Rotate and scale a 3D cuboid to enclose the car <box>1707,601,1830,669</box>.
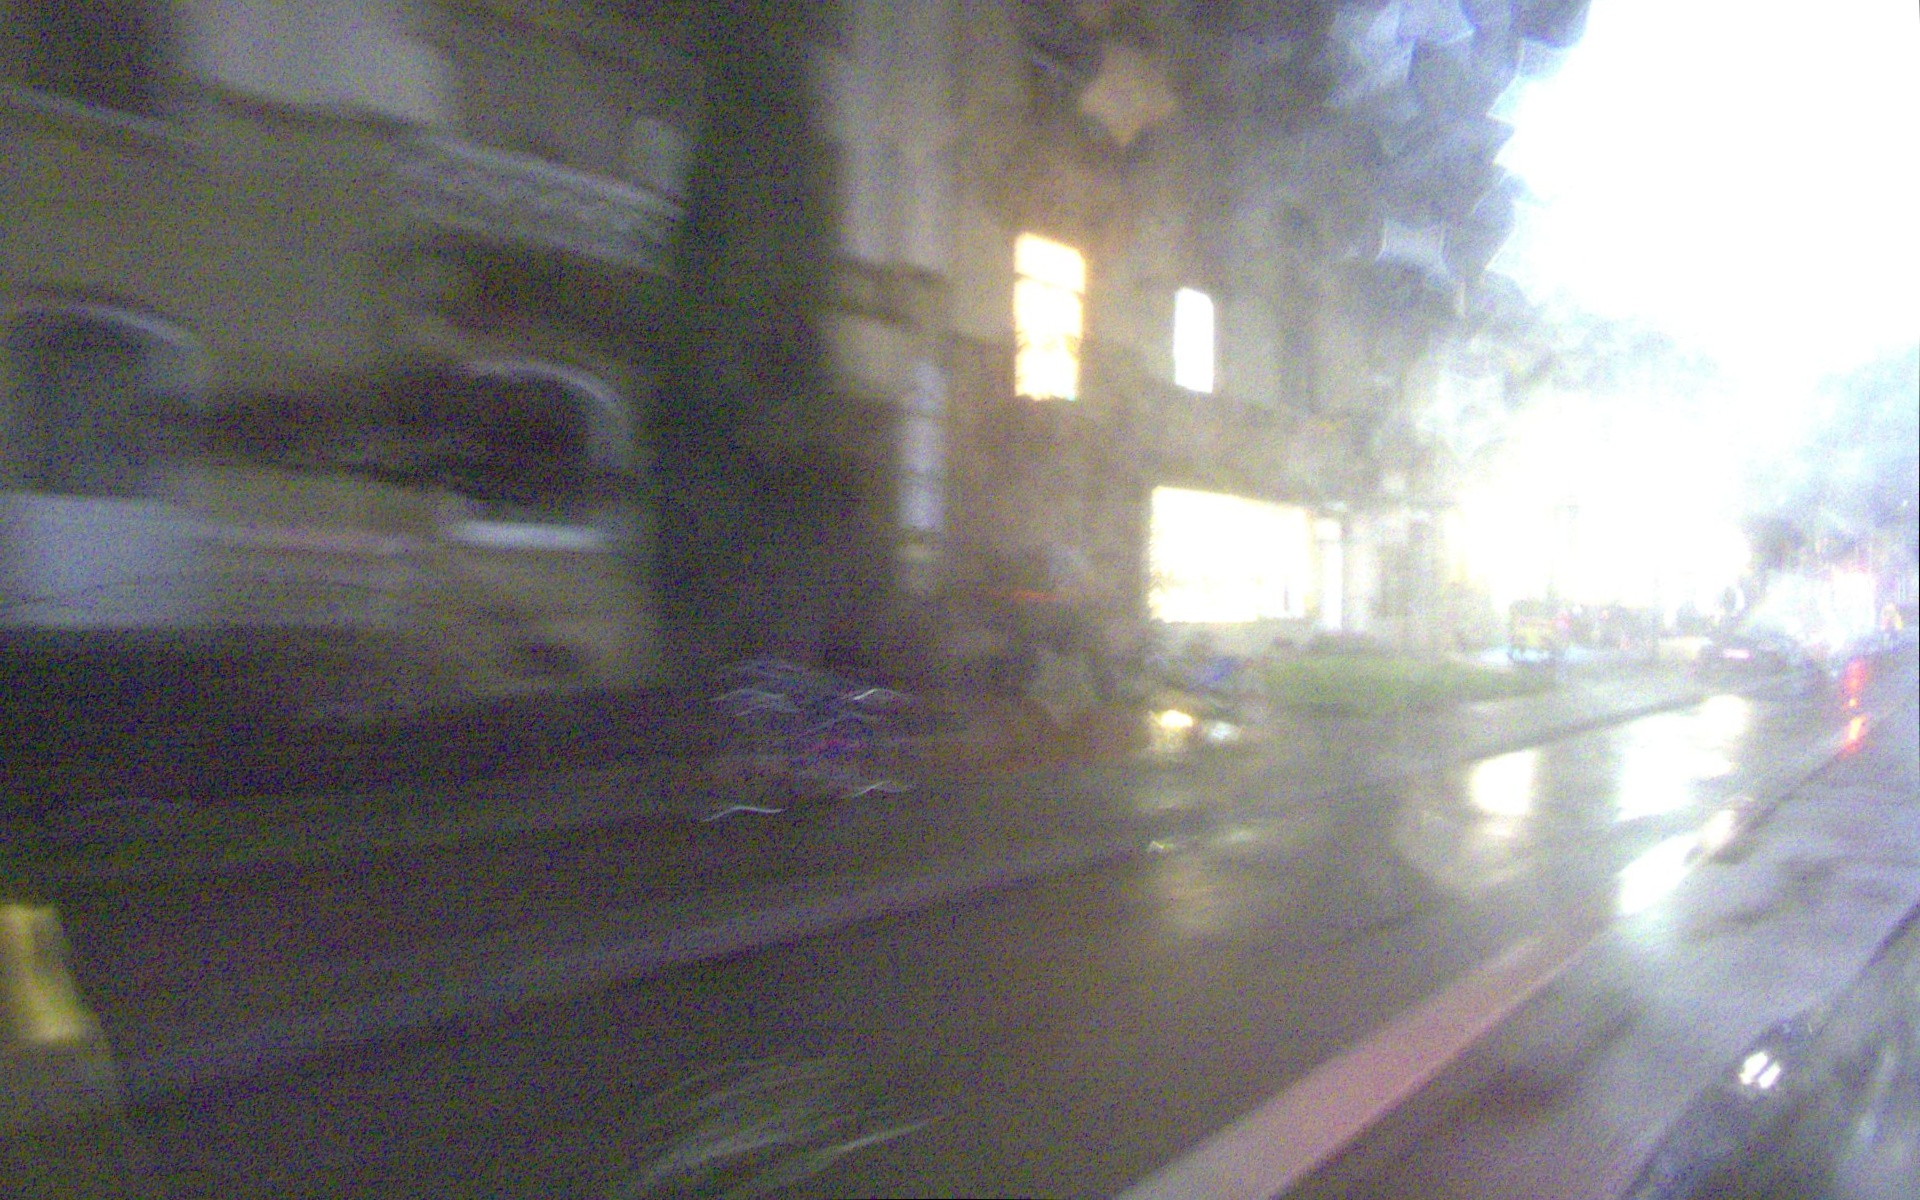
[{"bbox_3d":[20.382,0.814,25.469,3.984,1.459,1.649,0,4,-41],"label":"car"}]

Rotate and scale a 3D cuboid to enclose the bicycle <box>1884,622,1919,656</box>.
[{"bbox_3d":[29.330,1.200,31.412,0.567,0.981,1.761,-2,-1,31],"label":"bicycle"}]

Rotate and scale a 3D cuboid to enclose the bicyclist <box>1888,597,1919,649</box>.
[{"bbox_3d":[29.323,0.713,31.418,0.567,1.567,0.807,-2,-1,31],"label":"bicyclist"}]

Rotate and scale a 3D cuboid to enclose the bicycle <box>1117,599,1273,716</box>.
[{"bbox_3d":[2.742,0.630,11.979,0.484,1.178,1.817,-1,4,-41],"label":"bicycle"}]

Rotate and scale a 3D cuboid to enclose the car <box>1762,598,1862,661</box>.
[{"bbox_3d":[24.285,0.785,28.805,3.520,1.543,1.650,0,4,-43],"label":"car"}]
